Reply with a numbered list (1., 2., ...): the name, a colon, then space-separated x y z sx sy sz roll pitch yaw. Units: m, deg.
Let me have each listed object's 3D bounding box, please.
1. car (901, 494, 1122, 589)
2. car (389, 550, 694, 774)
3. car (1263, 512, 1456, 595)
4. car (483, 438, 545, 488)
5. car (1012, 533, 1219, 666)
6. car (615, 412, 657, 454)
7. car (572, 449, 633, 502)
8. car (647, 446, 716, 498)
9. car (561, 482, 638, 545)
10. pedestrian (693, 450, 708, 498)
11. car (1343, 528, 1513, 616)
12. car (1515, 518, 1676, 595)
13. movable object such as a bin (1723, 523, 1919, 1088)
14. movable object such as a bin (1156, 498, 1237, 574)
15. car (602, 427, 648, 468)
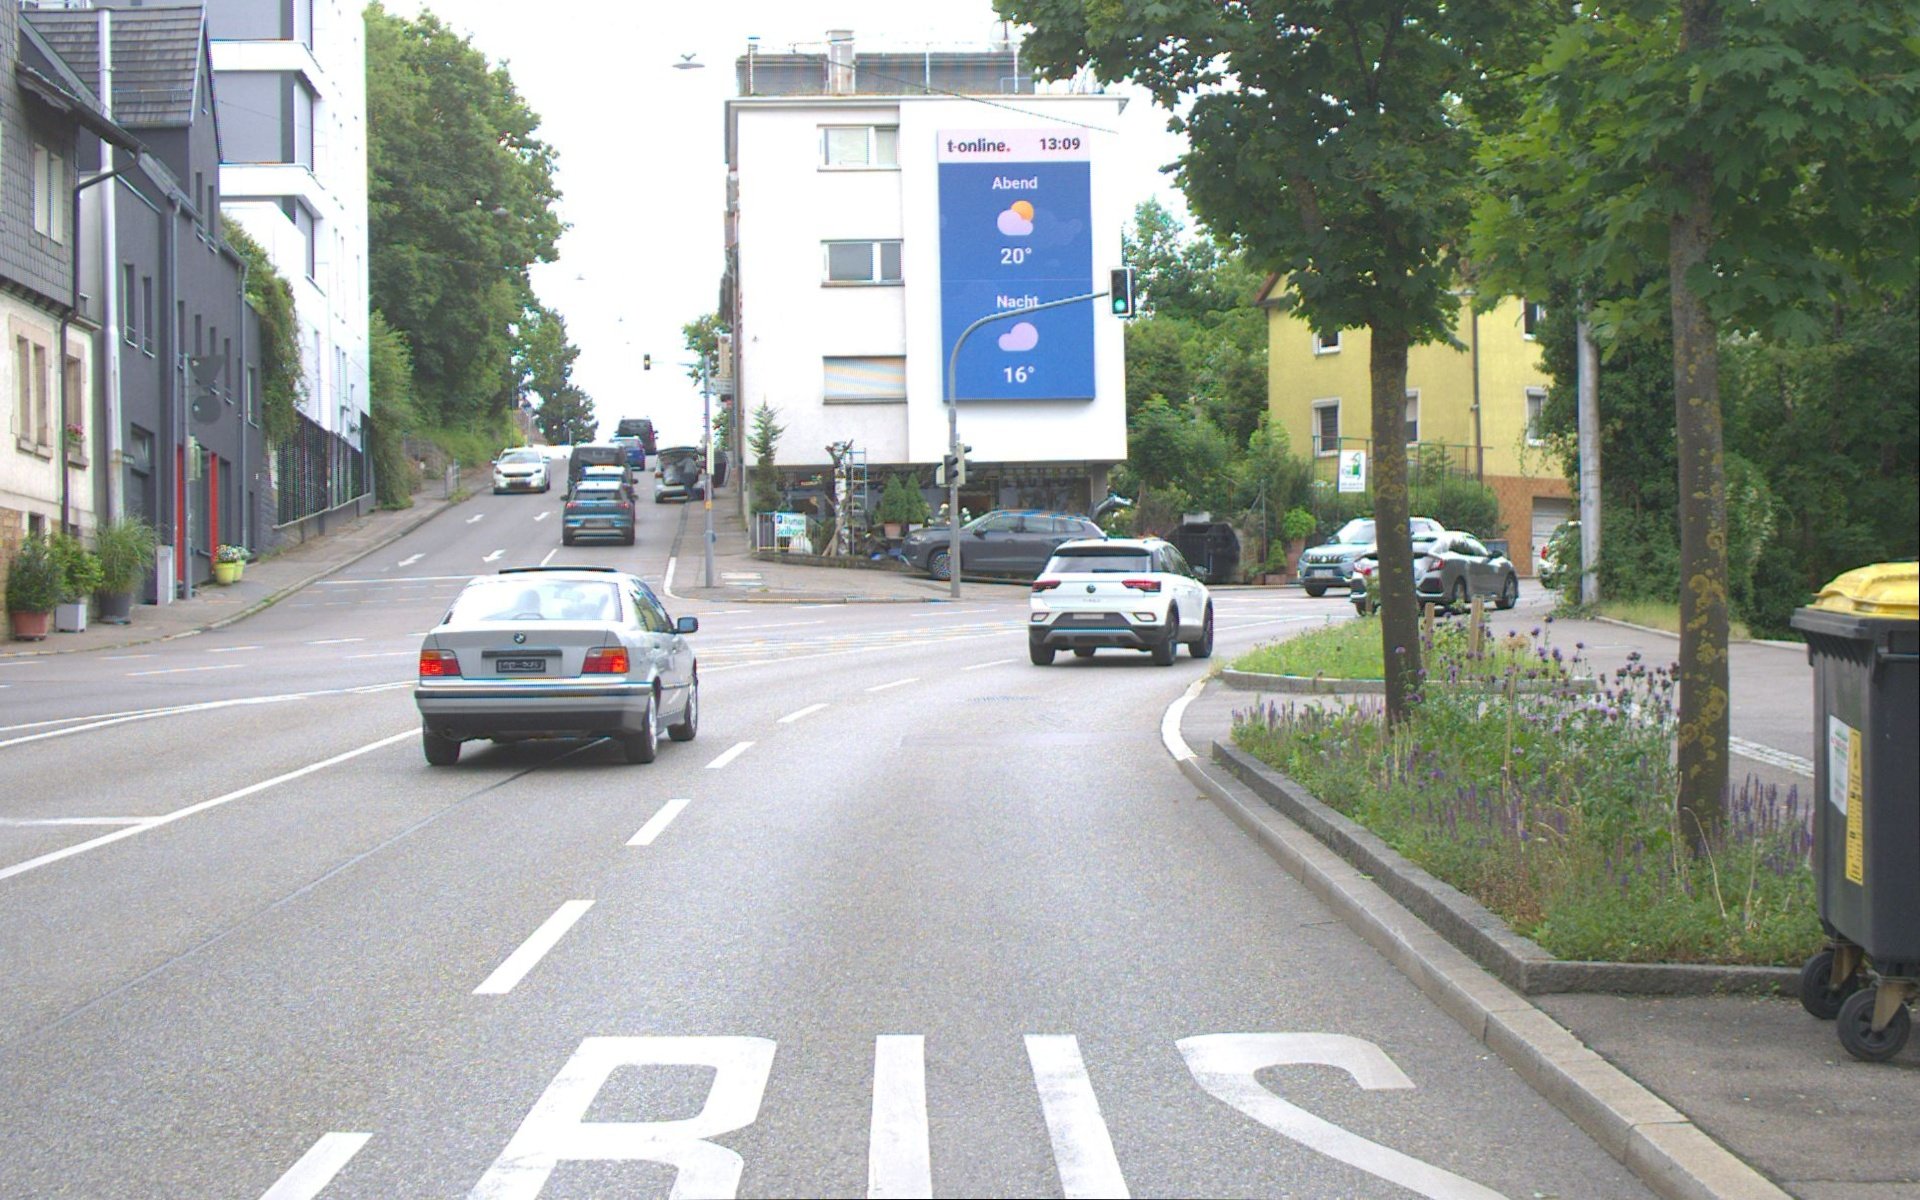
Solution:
1. car: 1.120 -1.332 77.176 4.687 1.706 2.319 4 4 -4
2. car: -2.997 0.391 25.344 1.706 1.459 4.000 0 2 1
3. car: 8.458 -0.998 72.518 1.900 1.689 4.337 0 1 41
4. car: -15.533 -4.805 119.948 1.882 1.562 4.391 -1 4 -4
5. car: 2.015 -0.039 43.412 1.781 1.573 3.997 0 1 15
6. car: -16.151 -8.321 171.654 1.993 2.006 4.001 0 2 -4
7. car: -11.718 -4.081 112.934 1.779 1.573 4.001 -2 1 -4
8. car: -9.045 -4.146 111.733 2.089 1.607 4.001 -1 1 -3
9. car: -9.147 -2.212 87.487 1.779 1.573 4.001 0 2 -4
10. pedestrian: -8.327 -4.050 110.184 0.458 1.524 0.527 0 0 -2
11. car: 8.055 -0.507 58.891 1.782 1.405 3.995 1 2 25
12. car: 13.556 -0.949 73.220 1.784 1.573 3.992 1 2 37
13. movable object such as a bin: 2.874 0.522 9.770 1.085 1.476 1.537 0 1 1
14. movable object such as a bin: 5.659 -1.529 82.151 1.763 1.773 1.854 -1 1 9
15. car: -13.949 -6.348 143.448 1.779 1.573 4.001 -1 1 -4
